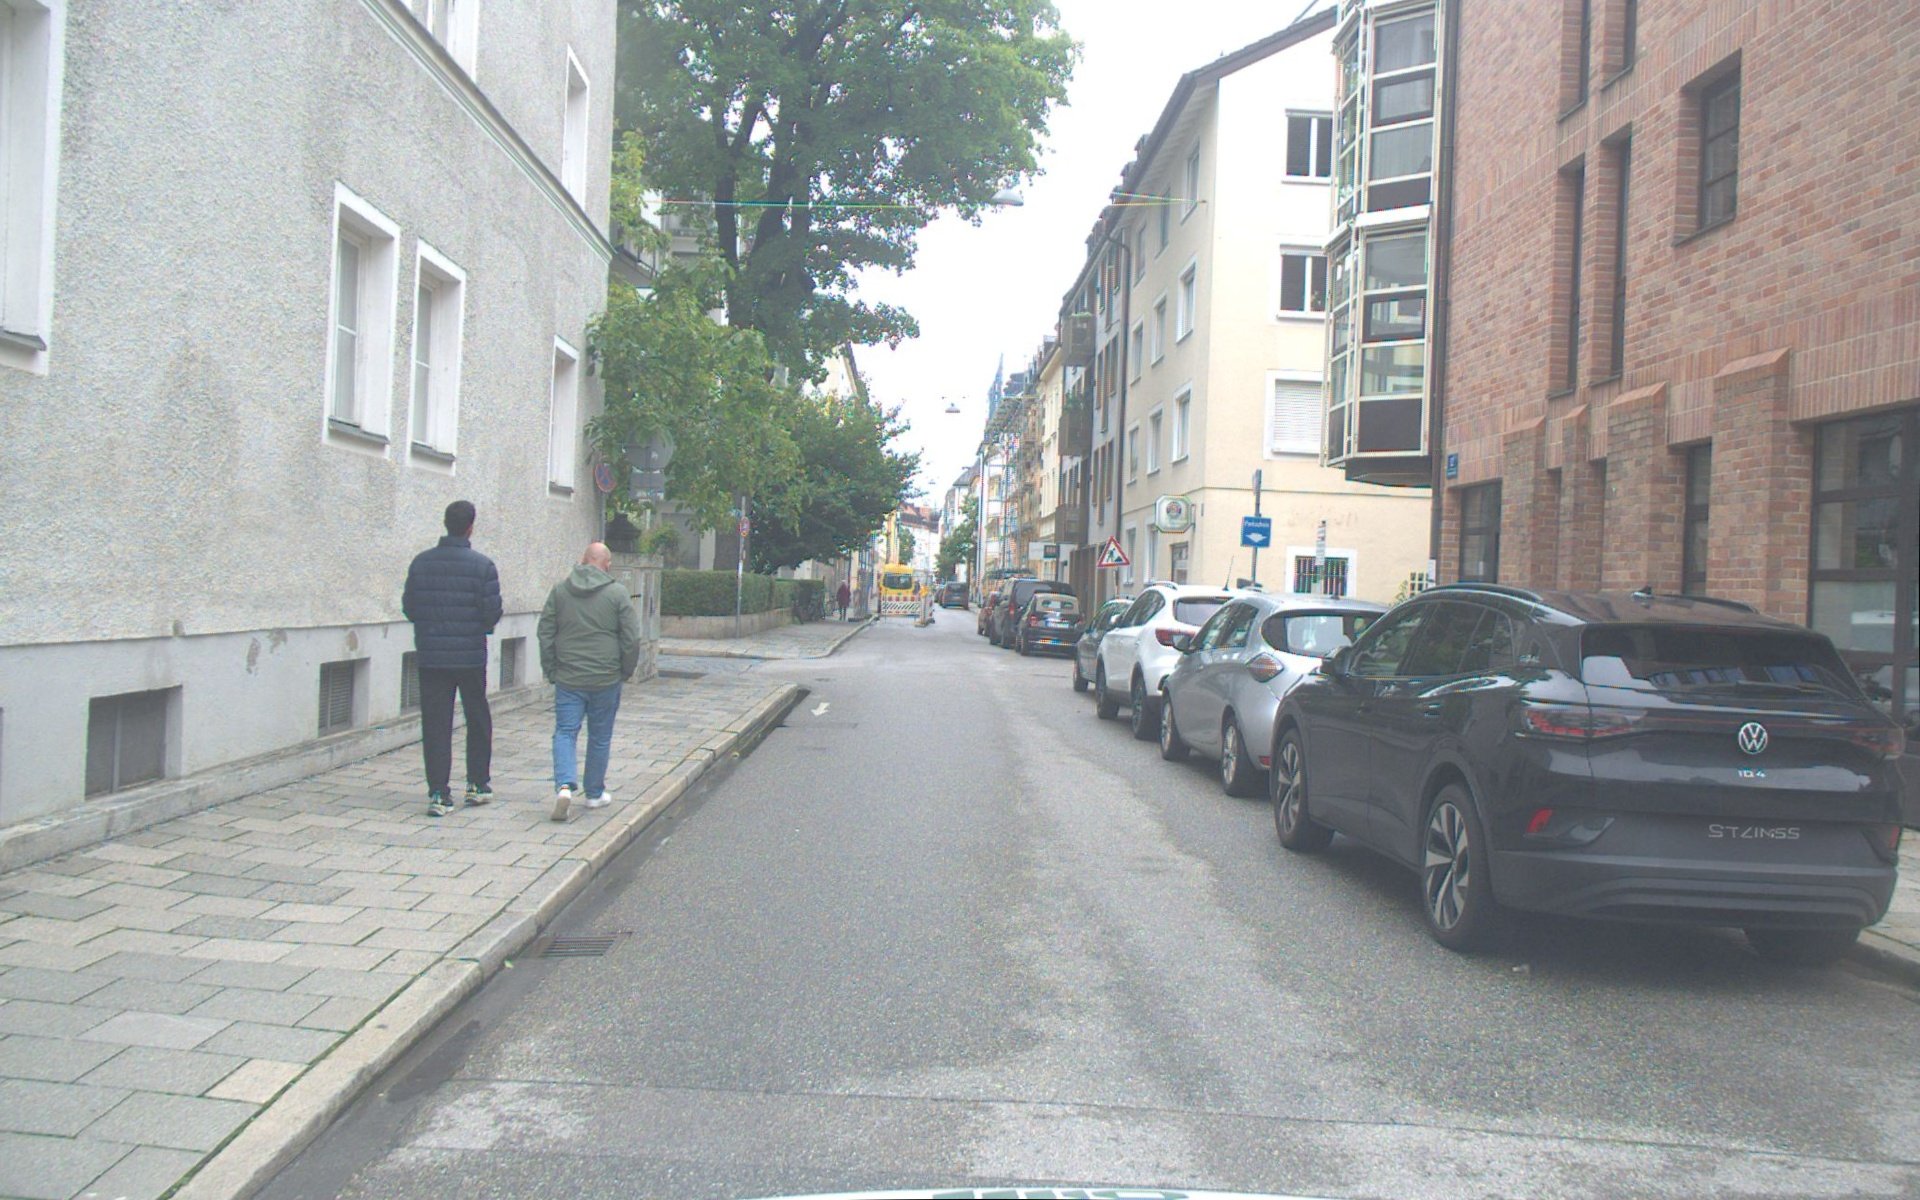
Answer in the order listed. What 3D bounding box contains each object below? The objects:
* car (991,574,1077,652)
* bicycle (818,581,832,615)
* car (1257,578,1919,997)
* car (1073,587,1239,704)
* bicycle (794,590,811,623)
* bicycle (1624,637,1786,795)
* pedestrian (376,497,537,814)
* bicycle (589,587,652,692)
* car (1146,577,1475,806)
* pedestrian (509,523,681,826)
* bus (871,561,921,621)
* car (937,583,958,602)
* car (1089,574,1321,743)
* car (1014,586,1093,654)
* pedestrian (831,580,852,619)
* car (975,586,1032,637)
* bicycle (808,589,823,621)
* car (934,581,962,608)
[{"bbox_3d":[1.973,0.314,45.137,1.766,1.851,3.997,6,0,-4],"label":"car"},{"bbox_3d":[-5.829,-0.104,71.470,0.504,1.442,1.933,1,0,-2],"label":"bicycle"},{"bbox_3d":[3.032,0.725,8.678,1.848,1.582,4.388,3,0,-4],"label":"car"},{"bbox_3d":[2.740,0.586,23.965,1.710,1.470,3.998,3,0,-3],"label":"car"},{"bbox_3d":[-5.052,0.211,53.150,0.406,1.038,1.853,1,0,-2],"label":"bicycle"},{"bbox_3d":[5.803,0.874,12.971,0.548,1.098,1.471,2,0,-1],"label":"bicycle"},{"bbox_3d":[-2.931,0.312,9.699,0.600,1.743,0.823,4,0,-2],"label":"pedestrian"},{"bbox_3d":[-3.974,0.438,19.297,0.465,1.130,1.751,2,0,-19],"label":"bicycle"},{"bbox_3d":[2.818,0.680,14.157,1.687,1.664,3.877,1,0,-5],"label":"car"},{"bbox_3d":[-2.170,0.429,9.949,0.738,1.687,0.906,4,0,-2],"label":"pedestrian"},{"bbox_3d":[-3.464,-0.471,90.498,2.540,3.156,6.304,1,0,-1],"label":"bus"},{"bbox_3d":[-1.175,-0.653,151.144,1.765,1.642,3.999,3,0,-1],"label":"car"},{"bbox_3d":[2.642,0.569,18.779,1.714,1.658,4.193,2,0,-4],"label":"car"},{"bbox_3d":[2.253,0.452,40.785,1.592,1.513,3.807,3,0,-1],"label":"car"},{"bbox_3d":[-4.736,-0.017,66.127,0.741,1.517,0.831,1,0,-2],"label":"pedestrian"},{"bbox_3d":[1.481,0.369,57.007,1.603,1.540,3.827,6,0,-2],"label":"car"},{"bbox_3d":[-5.129,0.184,58.686,0.437,1.092,2.466,1,0,-3],"label":"bicycle"},{"bbox_3d":[-0.912,-0.424,122.700,1.766,1.741,3.824,6,0,-3],"label":"car"}]
